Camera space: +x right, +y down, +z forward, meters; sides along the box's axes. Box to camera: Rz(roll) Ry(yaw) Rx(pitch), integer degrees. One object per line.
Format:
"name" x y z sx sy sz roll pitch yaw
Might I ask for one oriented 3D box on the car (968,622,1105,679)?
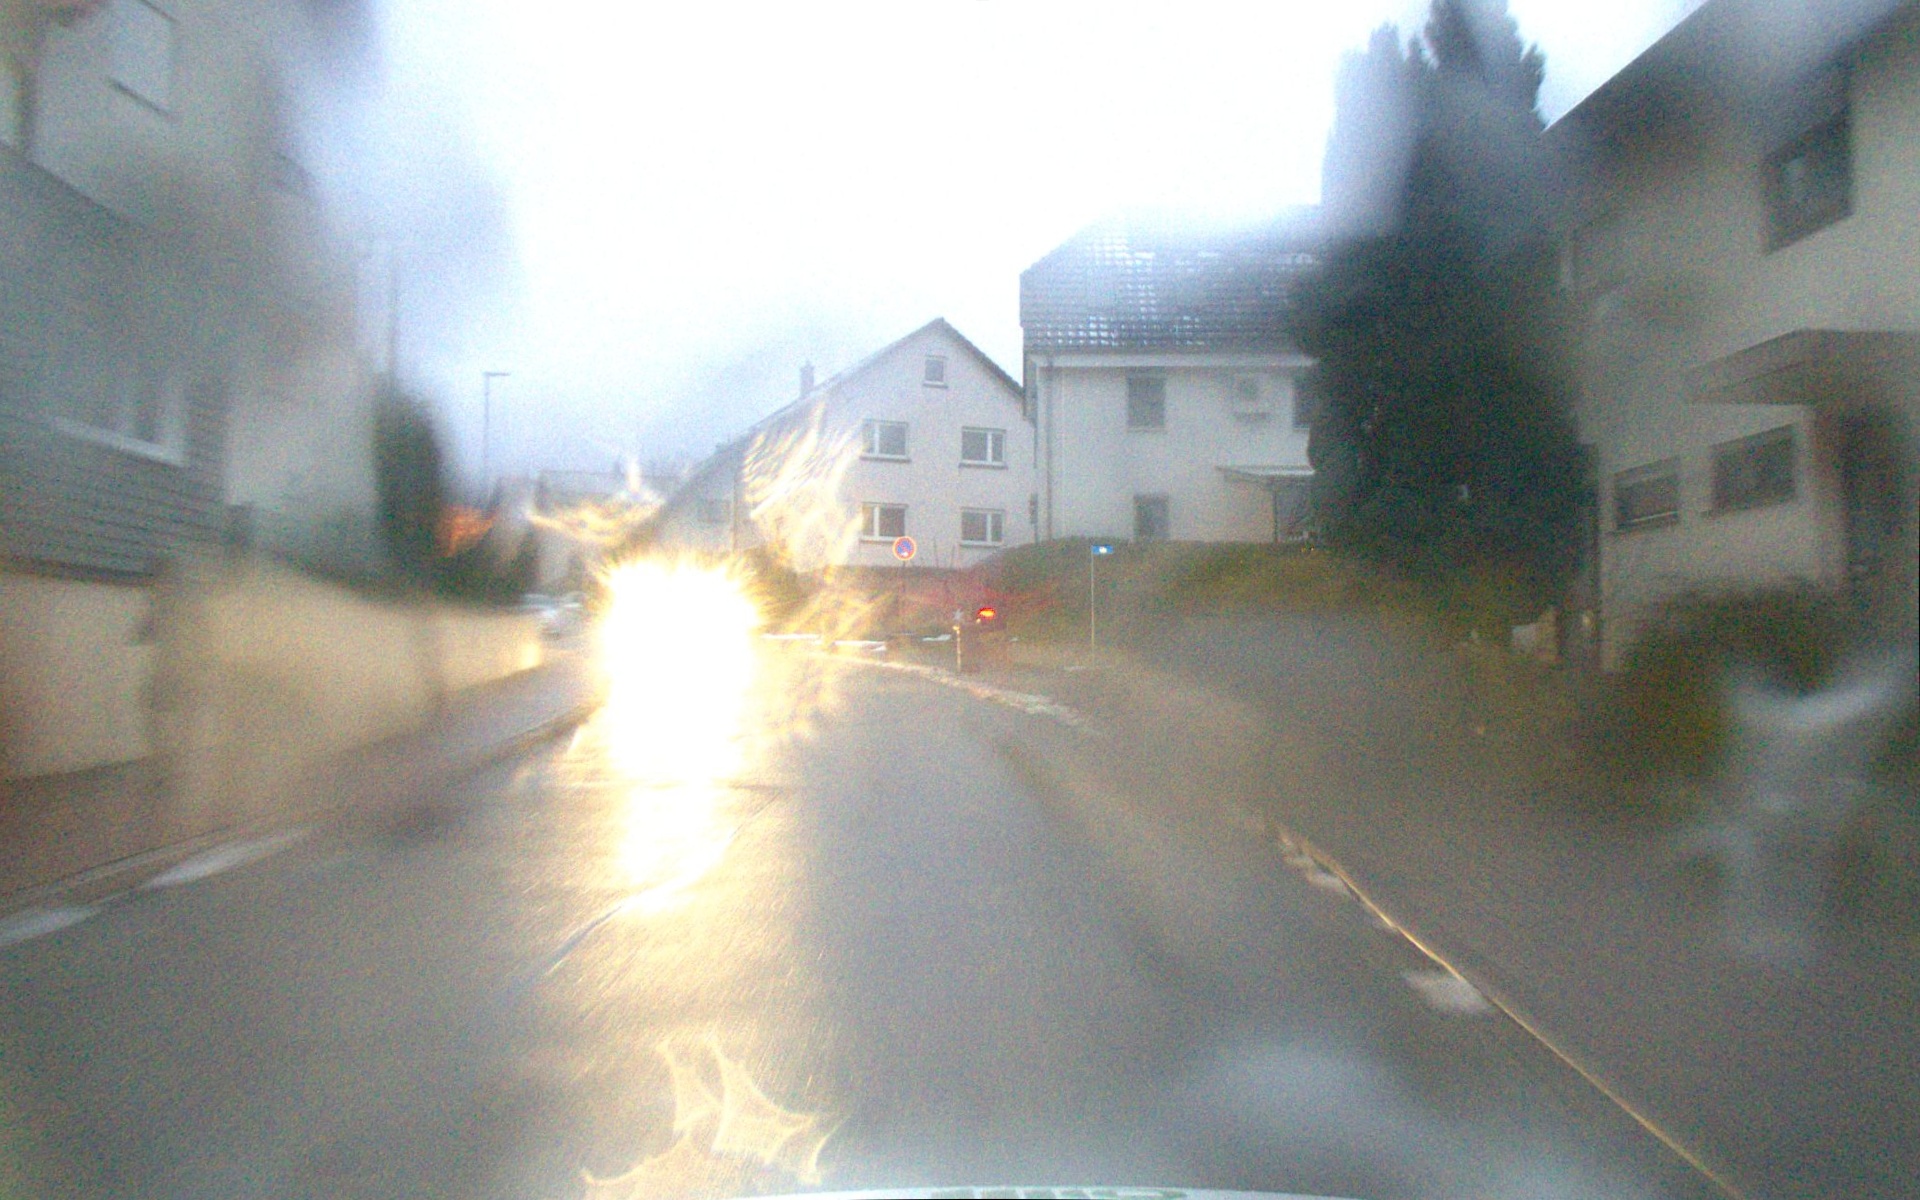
"car" 2.427 1.608 52.779 3.921 1.646 1.992 2 0 -15

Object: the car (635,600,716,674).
"car" -8.237 1.022 48.224 2.070 2.062 4.975 0 0 -7

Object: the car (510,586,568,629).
"car" -14.855 0.254 58.245 1.595 1.463 3.633 0 0 -21

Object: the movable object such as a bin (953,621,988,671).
"movable object such as a bin" 0.209 0.897 32.295 0.528 0.954 0.687 1 0 -14

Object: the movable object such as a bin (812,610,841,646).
"movable object such as a bin" -3.561 0.739 44.009 0.626 0.933 0.683 1 0 -16

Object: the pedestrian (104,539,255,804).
"pedestrian" -5.441 0.492 11.572 0.585 1.763 0.812 2 -2 0
